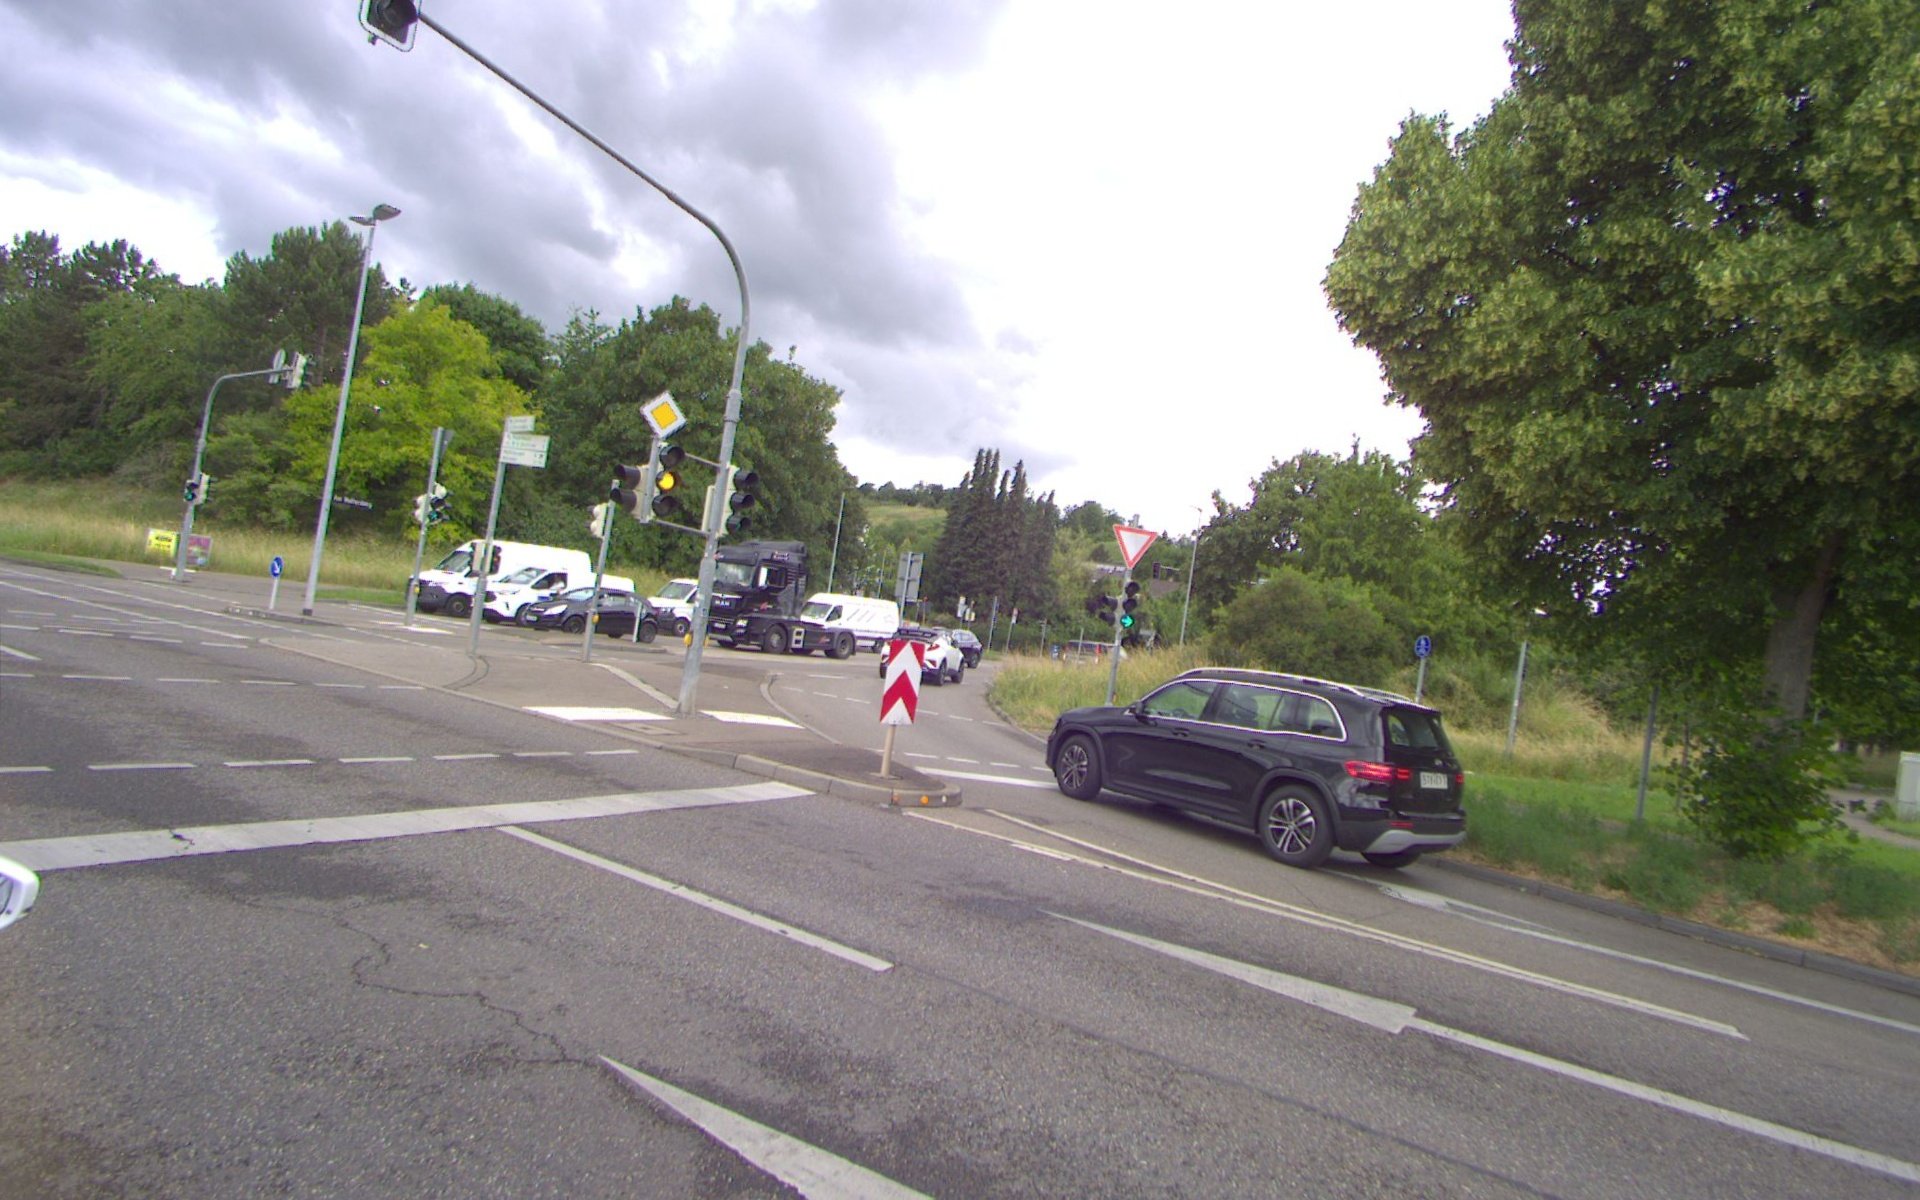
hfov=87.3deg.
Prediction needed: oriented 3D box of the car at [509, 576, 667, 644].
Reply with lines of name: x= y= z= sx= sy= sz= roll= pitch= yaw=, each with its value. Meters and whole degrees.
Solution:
car: x=-10.604 y=0.332 z=28.934 sx=1.703 sy=1.453 sz=3.927 roll=7 pitch=-1 yaw=31

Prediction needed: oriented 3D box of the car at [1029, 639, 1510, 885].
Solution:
car: x=2.926 y=1.522 z=10.414 sx=1.775 sy=1.666 sz=4.382 roll=13 pitch=-6 yaw=-37

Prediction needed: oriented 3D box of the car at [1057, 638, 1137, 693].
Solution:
car: x=6.355 y=3.040 z=46.134 sx=1.889 sy=1.852 sz=4.726 roll=8 pitch=-5 yaw=28

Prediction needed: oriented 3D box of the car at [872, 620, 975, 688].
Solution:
car: x=-0.955 y=1.520 z=29.057 sx=1.752 sy=1.553 sz=4.308 roll=9 pitch=0 yaw=12

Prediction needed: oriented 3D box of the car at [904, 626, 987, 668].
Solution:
car: x=-0.587 y=2.096 z=44.482 sx=1.703 sy=1.453 sz=3.927 roll=7 pitch=-1 yaw=31

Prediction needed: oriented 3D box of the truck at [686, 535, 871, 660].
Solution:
truck: x=-6.211 y=0.021 z=35.345 sx=2.682 sy=3.580 sz=6.061 roll=7 pitch=-1 yaw=32

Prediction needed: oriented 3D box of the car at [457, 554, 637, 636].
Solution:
car: x=-12.932 y=-0.098 z=31.820 sx=1.999 sy=1.918 sz=4.862 roll=7 pitch=-1 yaw=31

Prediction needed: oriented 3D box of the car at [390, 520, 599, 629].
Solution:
car: x=-15.335 y=-0.739 z=33.602 sx=2.100 sy=2.814 sz=5.903 roll=7 pitch=-1 yaw=32

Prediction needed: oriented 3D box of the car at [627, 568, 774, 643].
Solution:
car: x=-10.425 y=0.287 z=40.909 sx=2.100 sy=2.316 sz=5.709 roll=7 pitch=-1 yaw=32

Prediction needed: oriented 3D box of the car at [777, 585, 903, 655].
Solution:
car: x=-5.666 y=1.049 z=48.624 sx=2.160 sy=2.640 sz=6.509 roll=7 pitch=-1 yaw=32
